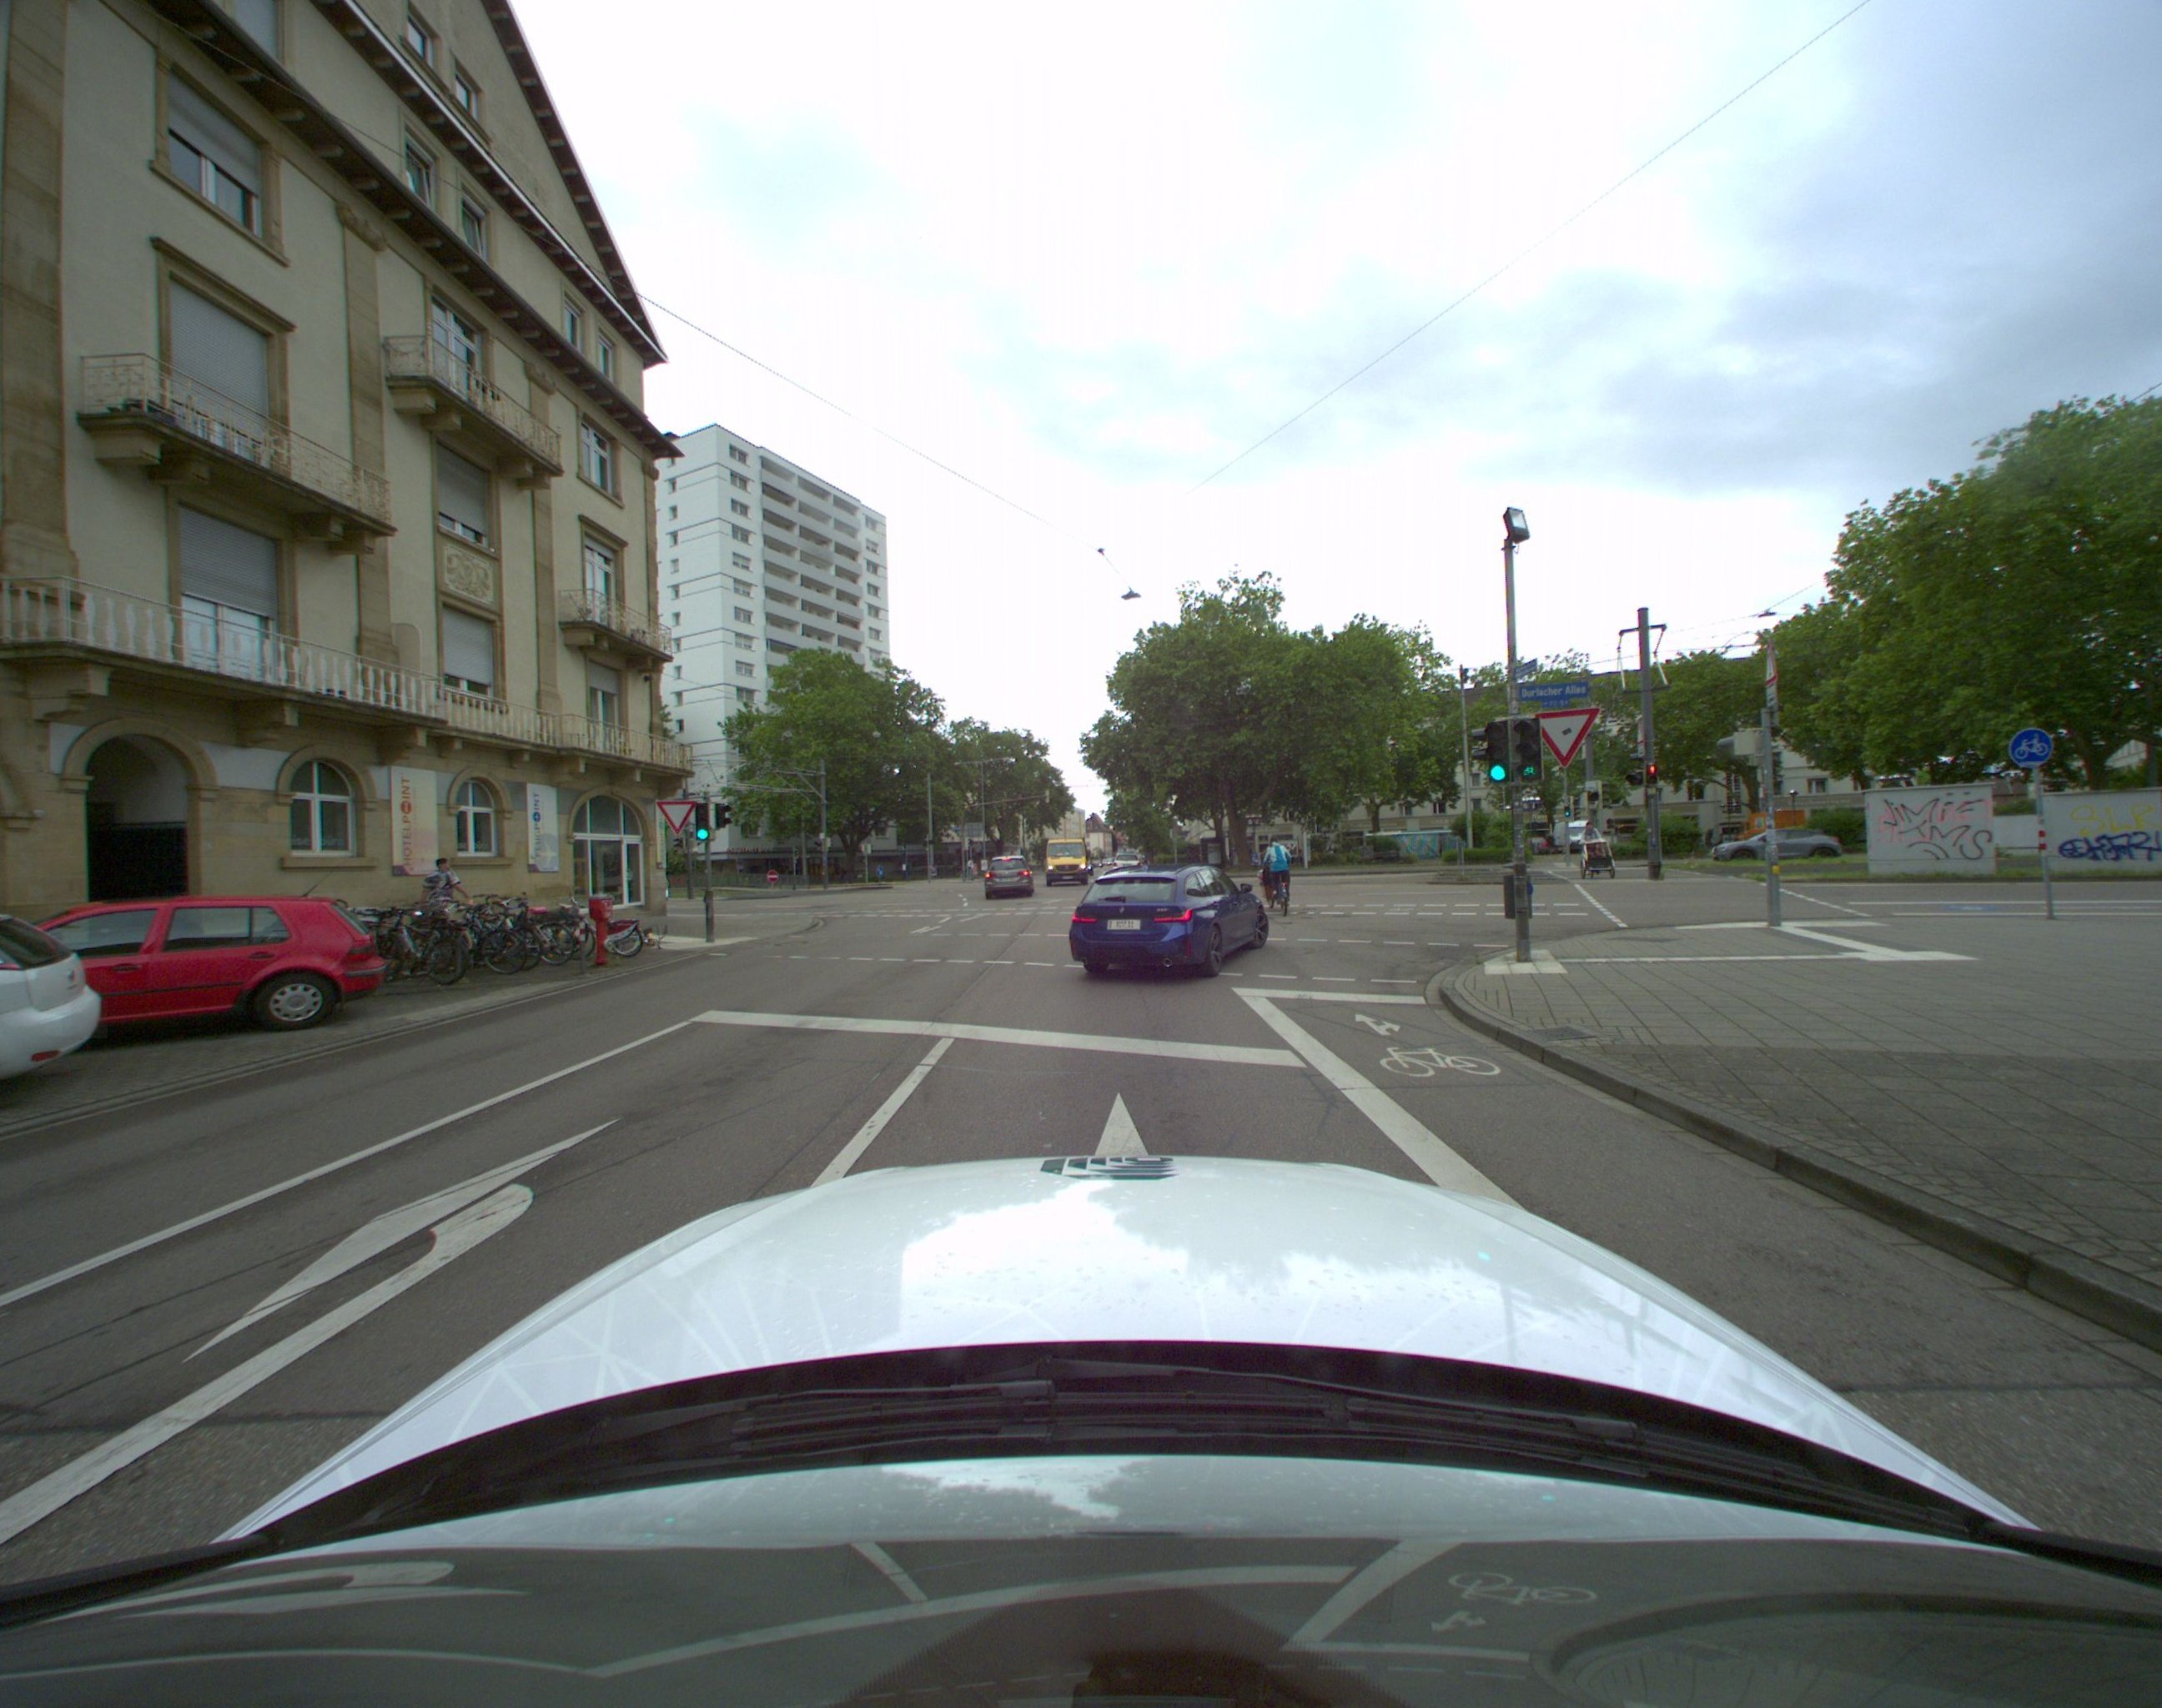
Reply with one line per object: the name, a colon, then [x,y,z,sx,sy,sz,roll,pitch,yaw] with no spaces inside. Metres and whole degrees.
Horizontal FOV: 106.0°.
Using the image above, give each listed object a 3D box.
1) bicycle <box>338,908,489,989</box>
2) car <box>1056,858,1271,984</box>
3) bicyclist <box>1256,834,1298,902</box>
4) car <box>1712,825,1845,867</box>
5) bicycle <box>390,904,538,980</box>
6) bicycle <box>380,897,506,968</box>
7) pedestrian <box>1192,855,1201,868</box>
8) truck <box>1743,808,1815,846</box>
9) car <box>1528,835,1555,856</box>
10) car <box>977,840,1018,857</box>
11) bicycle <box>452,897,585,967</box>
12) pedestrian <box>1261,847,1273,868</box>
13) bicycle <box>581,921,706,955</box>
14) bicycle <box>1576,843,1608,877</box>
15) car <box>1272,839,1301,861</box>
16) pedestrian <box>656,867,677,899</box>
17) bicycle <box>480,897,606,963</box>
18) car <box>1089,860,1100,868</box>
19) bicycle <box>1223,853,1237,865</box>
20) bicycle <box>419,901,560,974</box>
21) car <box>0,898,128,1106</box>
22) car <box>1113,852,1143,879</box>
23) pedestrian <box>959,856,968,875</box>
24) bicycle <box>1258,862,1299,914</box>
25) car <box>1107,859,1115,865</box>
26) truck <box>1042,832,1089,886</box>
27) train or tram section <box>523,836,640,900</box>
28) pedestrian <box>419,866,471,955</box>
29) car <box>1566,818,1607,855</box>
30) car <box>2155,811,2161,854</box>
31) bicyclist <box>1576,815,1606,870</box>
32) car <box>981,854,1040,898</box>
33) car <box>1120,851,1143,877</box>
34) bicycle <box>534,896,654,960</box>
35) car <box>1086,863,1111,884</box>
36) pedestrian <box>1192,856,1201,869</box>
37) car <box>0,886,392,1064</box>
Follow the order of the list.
bicycle: [-9.638,1.347,11.769,1.877,1.036,0.443,2,0,5]
car: [1.413,0.833,11.898,1.799,1.405,4.344,-3,0,24]
bicyclist: [4.526,0.314,18.826,0.683,1.517,1.059,-3,0,2]
car: [29.535,-0.311,34.629,3.940,1.561,1.697,-3,-1,25]
bicycle: [-9.514,1.347,12.582,1.880,1.036,0.442,3,0,0]
bicycle: [-10.991,1.314,14.121,0.499,1.028,1.998,-2,0,3]
pedestrian: [12.115,0.814,85.683,0.814,1.372,0.763,-2,-1,2]
truck: [52.542,-1.981,61.404,2.364,2.591,4.012,-2,0,11]
car: [35.224,-0.640,62.374,1.649,1.515,3.962,-3,0,28]
car: [-9.057,-0.629,88.252,4.008,1.706,1.982,-1,-1,-27]
bicycle: [-9.499,1.315,13.781,1.880,1.036,0.442,3,0,0]
pedestrian: [15.815,0.298,69.354,0.781,1.743,0.925,-2,-1,1]
bicycle: [-8.542,1.638,15.973,1.880,0.445,1.029,3,1,0]
bicycle: [15.867,0.182,25.339,0.546,0.995,2.073,-3,0,25]
car: [22.538,-0.442,89.393,2.154,2.200,4.024,-3,-1,27]
pedestrian: [-21.492,1.518,42.189,0.724,1.602,0.592,-3,0,25]
bicycle: [-9.508,1.336,14.418,1.880,1.036,0.442,3,0,0]
car: [2.520,1.916,152.541,1.846,1.453,4.170,-2,0,2]
bicycle: [15.866,0.509,86.514,0.771,1.168,2.347,-3,-1,27]
bicycle: [-9.507,1.332,13.119,1.880,1.036,0.442,3,0,0]
car: [-9.738,1.123,5.526,4.020,1.472,1.546,0,-1,-40]
car: [2.975,0.701,52.461,1.808,1.592,4.002,-3,0,2]
pedestrian: [-11.055,1.100,76.388,0.570,1.785,0.622,-2,0,10]
bicycle: [4.595,0.768,19.070,0.492,1.098,2.140,-3,0,2]
car: [7.199,1.860,191.973,1.760,1.486,4.003,-2,-1,3]
truck: [-0.831,0.236,40.607,2.070,2.408,5.456,-3,0,-3]
train or tram section: [-31.675,0.908,51.649,7.172,3.761,2.702,-3,-1,25]
pedestrian: [-13.095,1.148,16.766,0.564,1.785,0.551,-2,0,3]
car: [38.641,-1.331,62.362,2.214,2.639,5.481,-3,0,28]
car: [40.859,-0.862,28.548,3.424,1.561,1.697,-3,-1,25]
bicyclist: [15.866,-0.349,25.356,0.608,1.654,0.758,-3,-1,23]
car: [-2.653,0.805,31.460,1.725,1.525,4.002,-3,0,2]
car: [4.231,0.799,68.504,1.808,2.005,4.002,-3,0,2]
bicycle: [-8.924,1.351,14.946,1.880,1.036,0.442,3,0,0]
car: [1.394,1.514,64.124,1.801,1.427,4.320,-2,0,3]
pedestrian: [12.028,0.840,84.812,0.850,1.314,0.763,-2,-1,2]
car: [-9.866,1.152,8.423,1.663,1.472,4.024,0,0,44]
